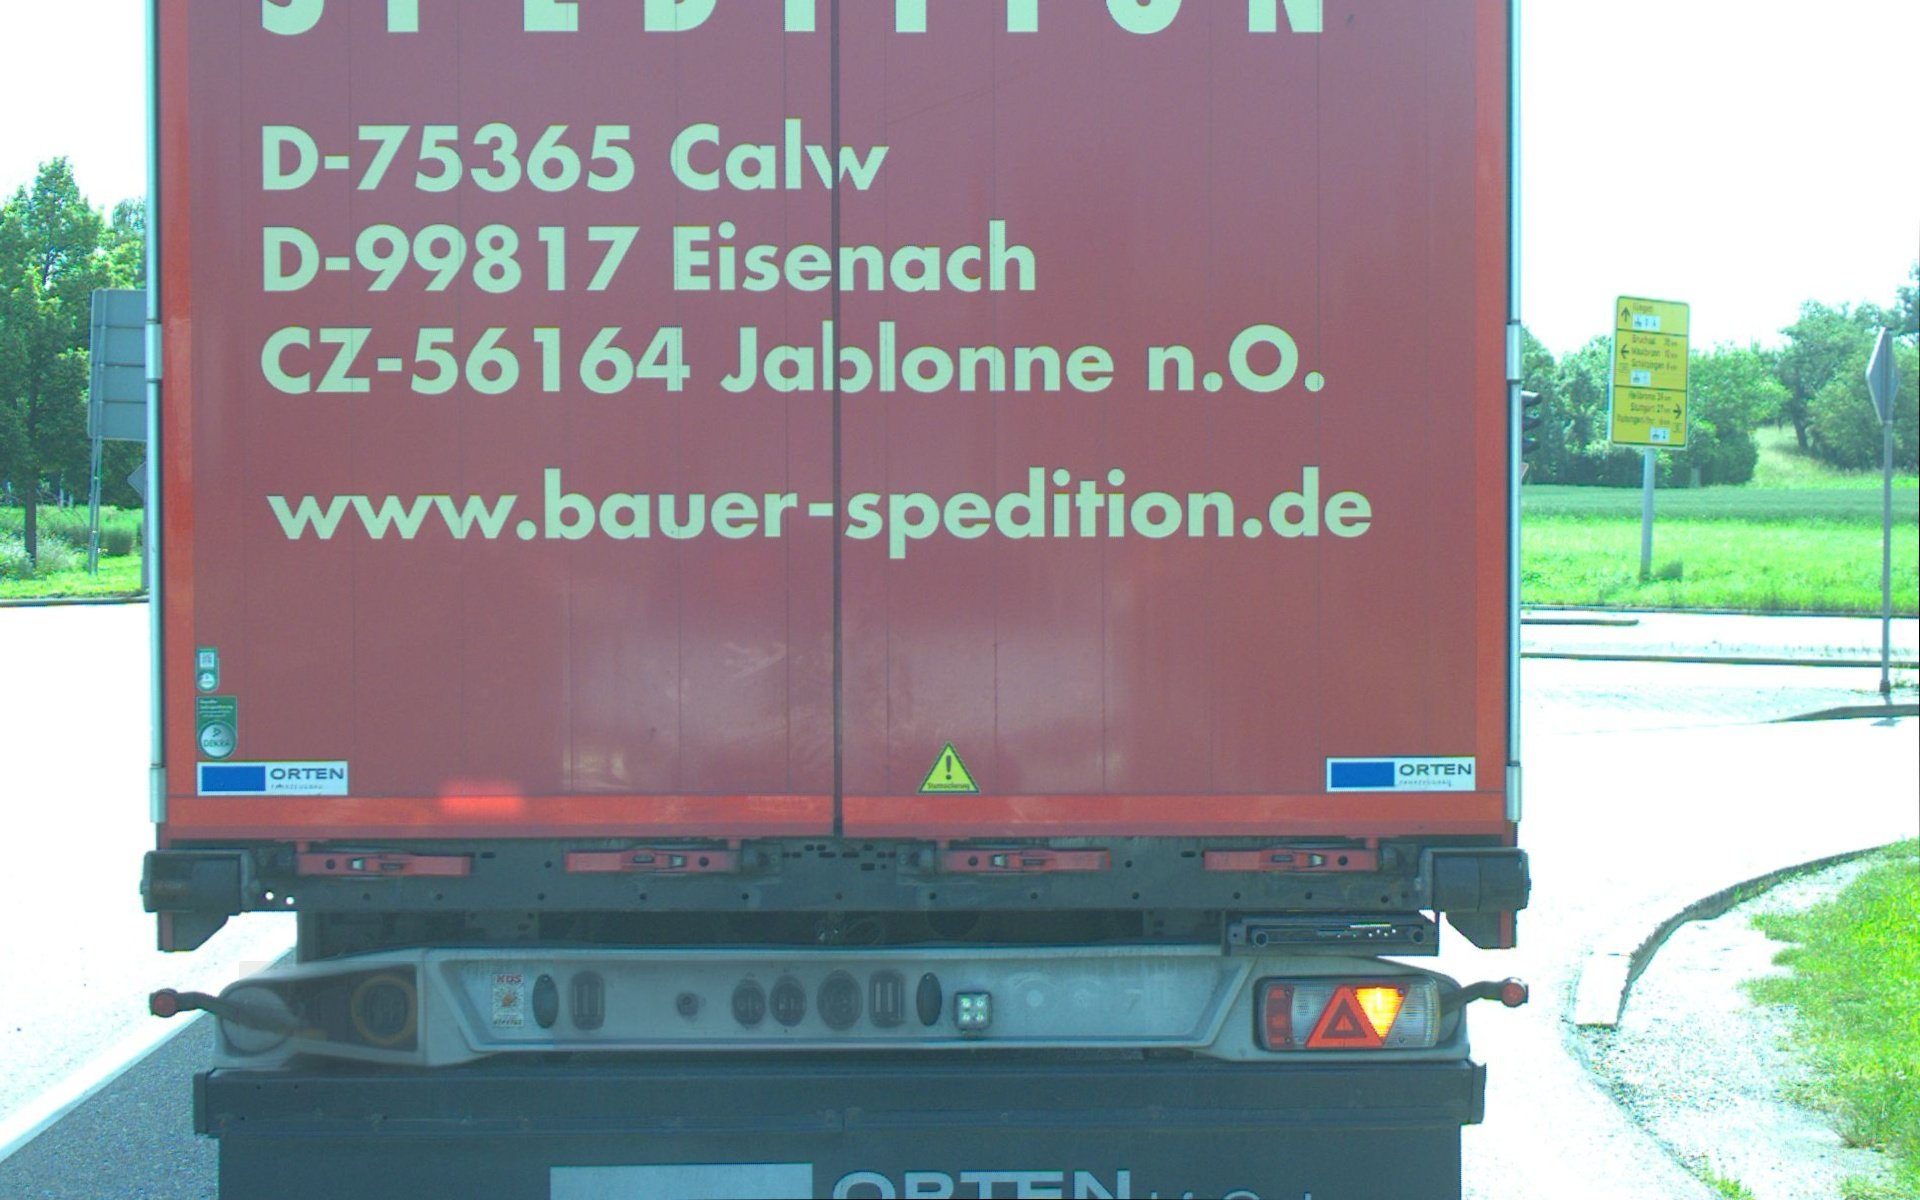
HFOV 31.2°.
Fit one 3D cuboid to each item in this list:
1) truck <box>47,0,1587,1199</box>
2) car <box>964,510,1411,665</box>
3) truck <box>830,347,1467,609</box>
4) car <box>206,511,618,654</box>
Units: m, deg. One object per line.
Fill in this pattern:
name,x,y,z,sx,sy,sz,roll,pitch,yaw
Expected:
truck,-0.383,-0.804,14.441,2.734,3.911,16.627,0,1,-1
car,2.337,-0.157,35.008,4.249,1.456,1.808,1,2,15
truck,2.734,-2.114,58.797,3.018,3.966,14.329,0,2,-33
car,-5.929,-0.221,37.298,4.038,1.412,1.794,1,2,16
